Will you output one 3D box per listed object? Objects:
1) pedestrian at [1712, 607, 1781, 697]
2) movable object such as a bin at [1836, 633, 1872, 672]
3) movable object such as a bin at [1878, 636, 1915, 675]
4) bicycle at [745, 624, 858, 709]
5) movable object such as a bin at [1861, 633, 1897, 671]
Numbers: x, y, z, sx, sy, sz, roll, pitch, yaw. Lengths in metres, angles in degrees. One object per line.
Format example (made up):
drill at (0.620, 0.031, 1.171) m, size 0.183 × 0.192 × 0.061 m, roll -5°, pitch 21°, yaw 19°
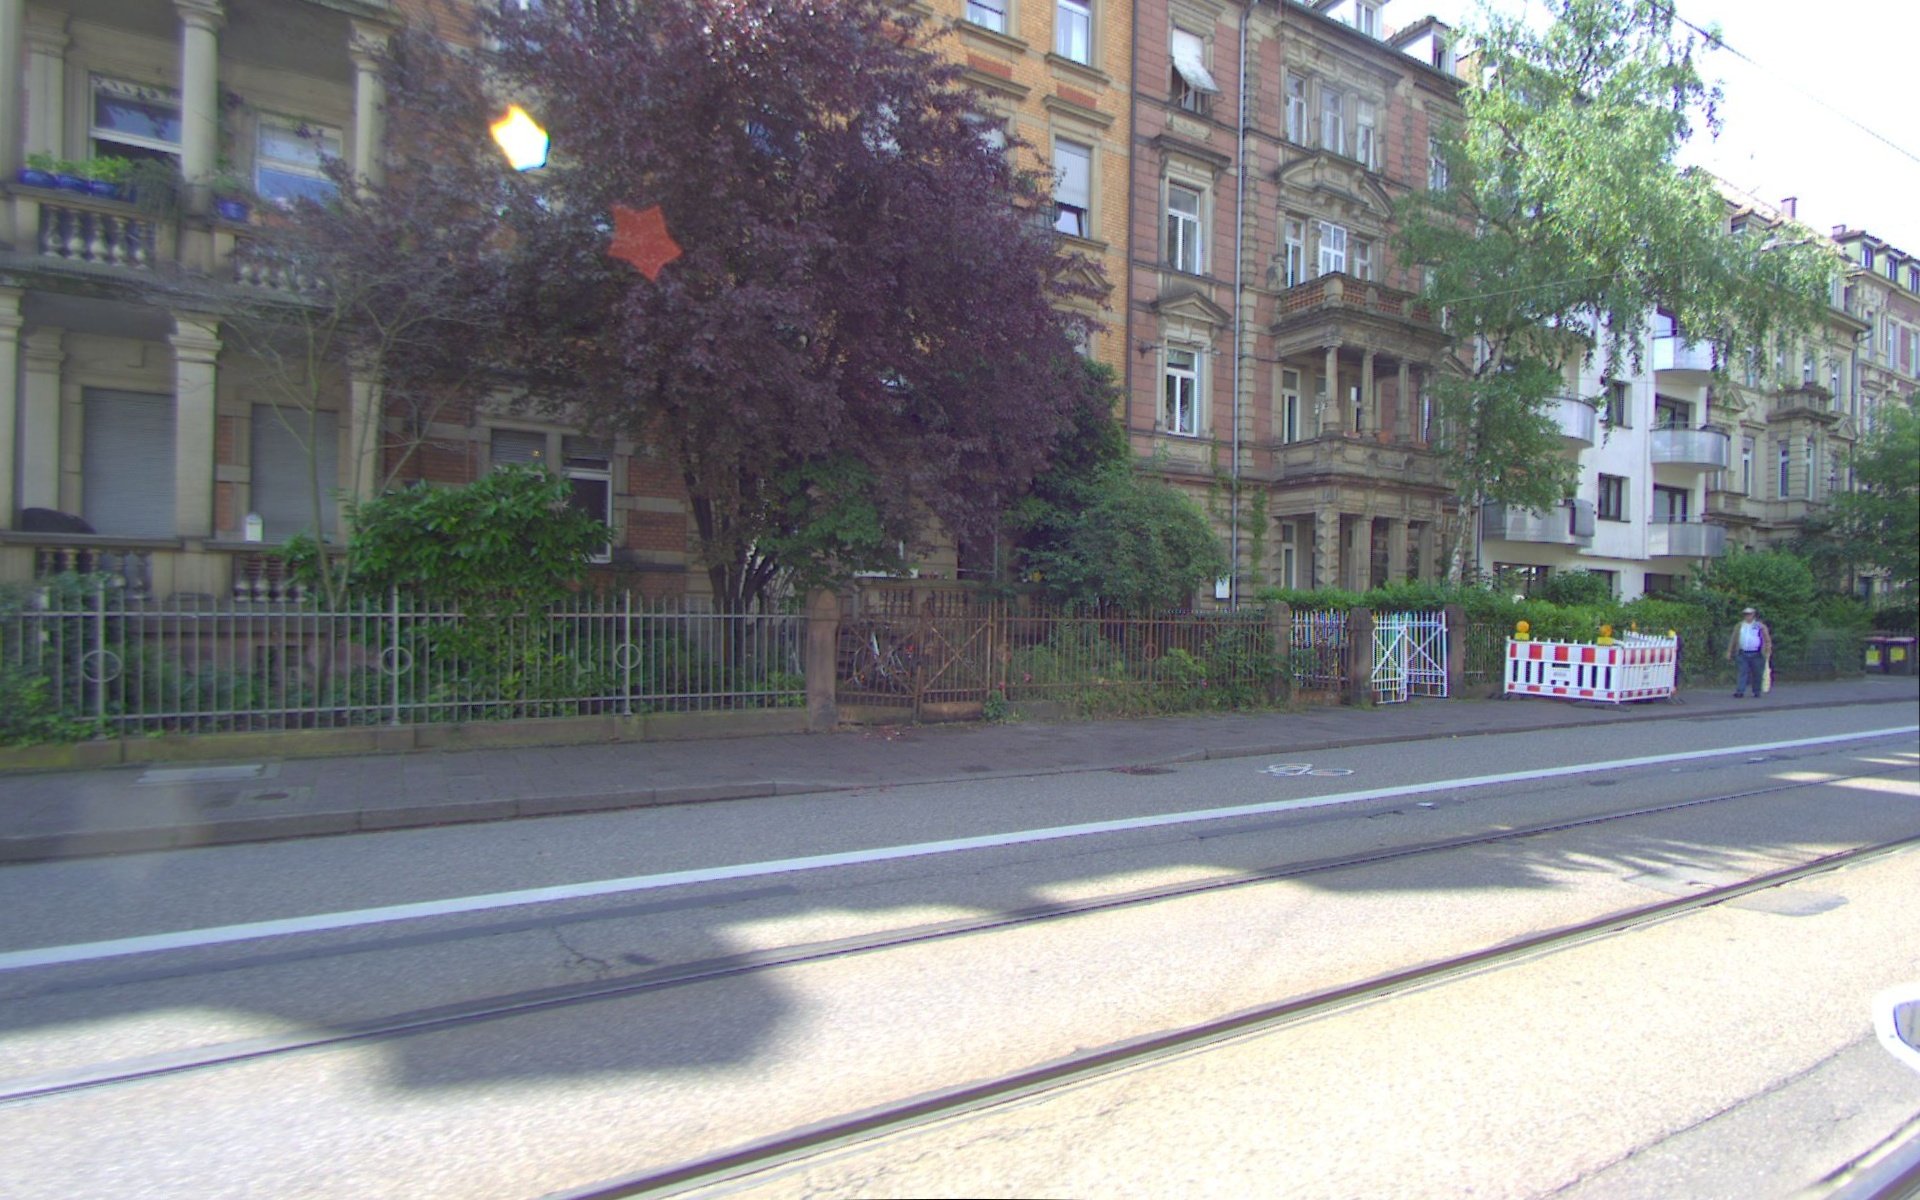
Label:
pedestrian at (15.541, 1.009, 19.857) m, size 0.882 × 1.729 × 0.817 m, roll 1°, pitch 0°, yaw -34°
movable object such as a bin at (27.016, 1.583, 30.355) m, size 0.779 × 1.123 × 0.547 m, roll 1°, pitch 0°, yaw -26°
movable object such as a bin at (27.395, 1.620, 29.387) m, size 0.779 × 1.109 × 0.536 m, roll 1°, pitch 0°, yaw -26°
bicycle at (-2.215, 0.875, 13.794) m, size 0.463 × 1.033 × 2.185 m, roll 1°, pitch 0°, yaw -40°
movable object such as a bin at (27.333, 1.543, 29.878) m, size 0.779 × 1.123 × 0.547 m, roll 1°, pitch 0°, yaw -26°
